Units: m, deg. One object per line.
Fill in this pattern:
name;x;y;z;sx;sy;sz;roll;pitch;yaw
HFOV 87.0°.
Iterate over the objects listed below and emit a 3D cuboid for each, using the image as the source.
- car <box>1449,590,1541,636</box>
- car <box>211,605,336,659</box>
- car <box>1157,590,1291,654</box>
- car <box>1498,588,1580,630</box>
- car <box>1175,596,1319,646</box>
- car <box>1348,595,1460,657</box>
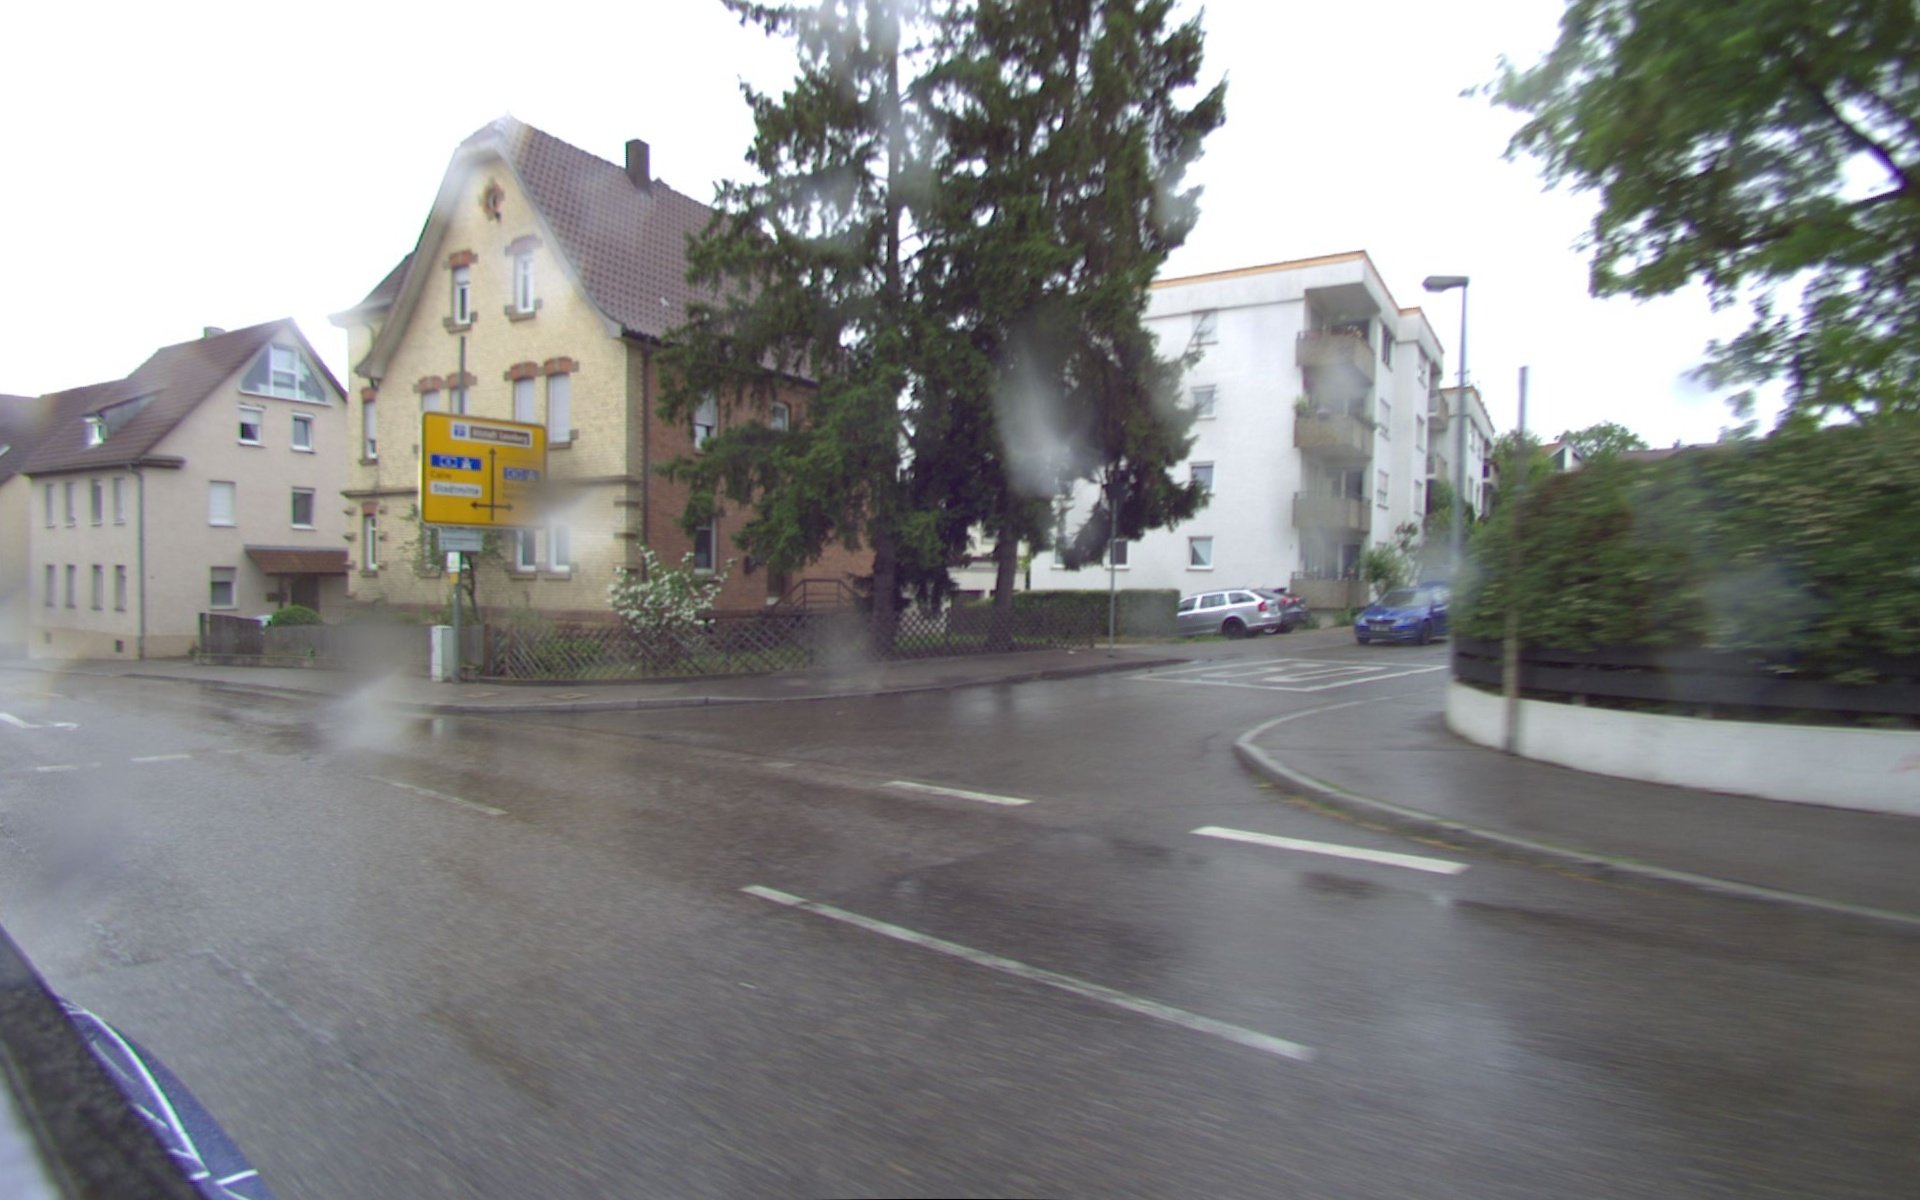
car;16.523;0.399;31.196;1.823;1.343;3.338;-1;-1;41
car;-21.071;0.989;31.035;3.870;1.514;1.757;-2;1;32
car;7.705;0.643;29.582;3.375;1.779;1.803;-1;-1;34
car;19.748;0.300;34.463;1.823;1.343;3.338;-1;-1;41
car;9.045;0.662;31.997;3.989;1.503;1.977;-1;-1;34
car;11.804;0.662;26.815;1.823;1.526;3.338;-1;-1;41
